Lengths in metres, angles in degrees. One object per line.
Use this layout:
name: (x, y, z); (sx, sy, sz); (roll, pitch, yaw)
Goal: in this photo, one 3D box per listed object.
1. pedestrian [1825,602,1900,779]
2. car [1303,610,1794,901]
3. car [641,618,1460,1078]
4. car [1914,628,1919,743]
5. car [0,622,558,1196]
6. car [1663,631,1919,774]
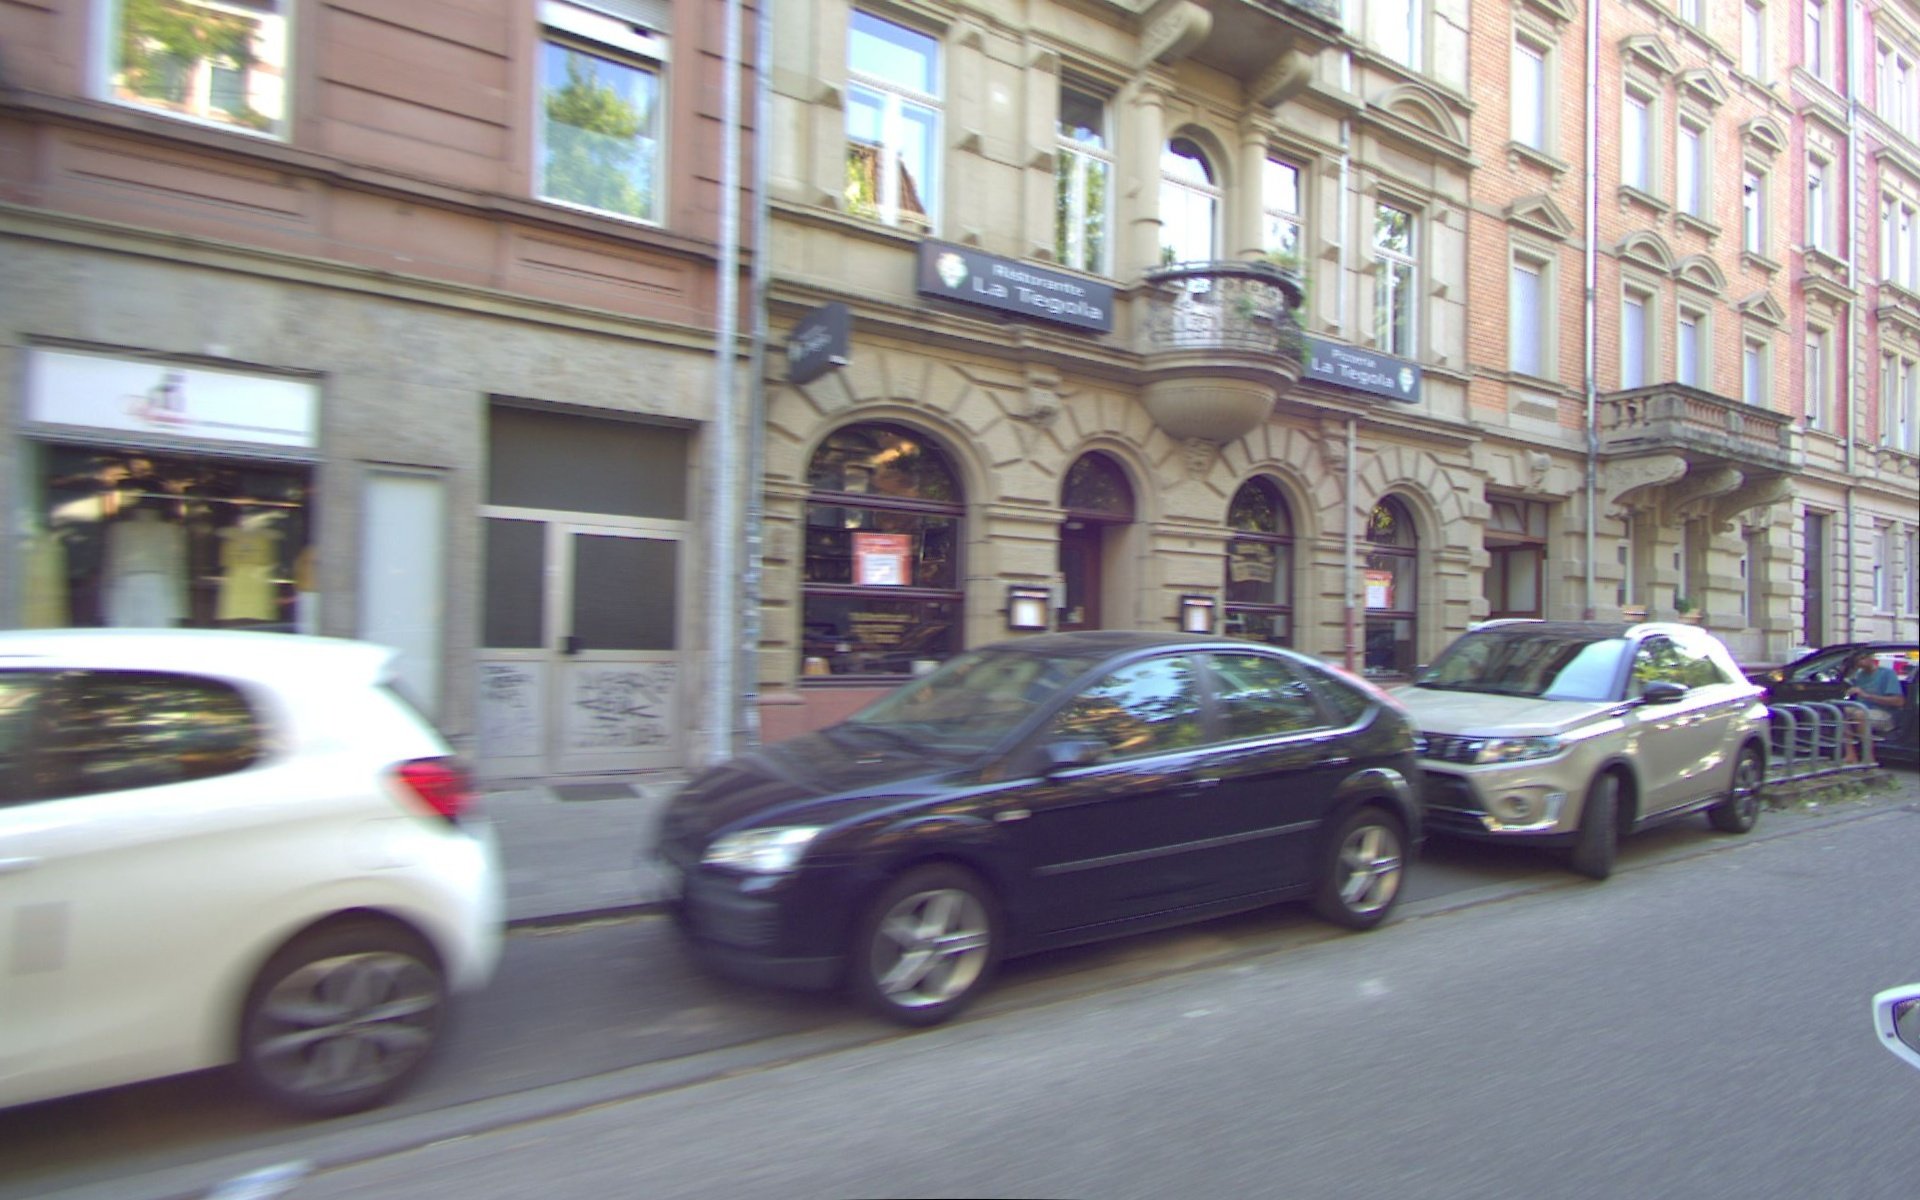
pedestrian: (10.172, 0.989, 11.320); (0.584, 1.912, 0.636); (-1, -2, 44)
car: (4.533, 0.933, 7.542); (4.009, 1.595, 1.636); (1, 1, -35)
car: (0.589, 0.894, 5.129); (3.954, 1.493, 1.639); (1, 1, -31)
car: (15.302, 1.195, 14.125); (3.849, 1.588, 1.733); (1, -2, -30)
car: (-3.428, 0.810, 2.977); (3.954, 1.492, 1.574); (1, -2, -31)
car: (10.849, 1.139, 11.735); (1.808, 1.550, 3.960); (2, -2, -36)
